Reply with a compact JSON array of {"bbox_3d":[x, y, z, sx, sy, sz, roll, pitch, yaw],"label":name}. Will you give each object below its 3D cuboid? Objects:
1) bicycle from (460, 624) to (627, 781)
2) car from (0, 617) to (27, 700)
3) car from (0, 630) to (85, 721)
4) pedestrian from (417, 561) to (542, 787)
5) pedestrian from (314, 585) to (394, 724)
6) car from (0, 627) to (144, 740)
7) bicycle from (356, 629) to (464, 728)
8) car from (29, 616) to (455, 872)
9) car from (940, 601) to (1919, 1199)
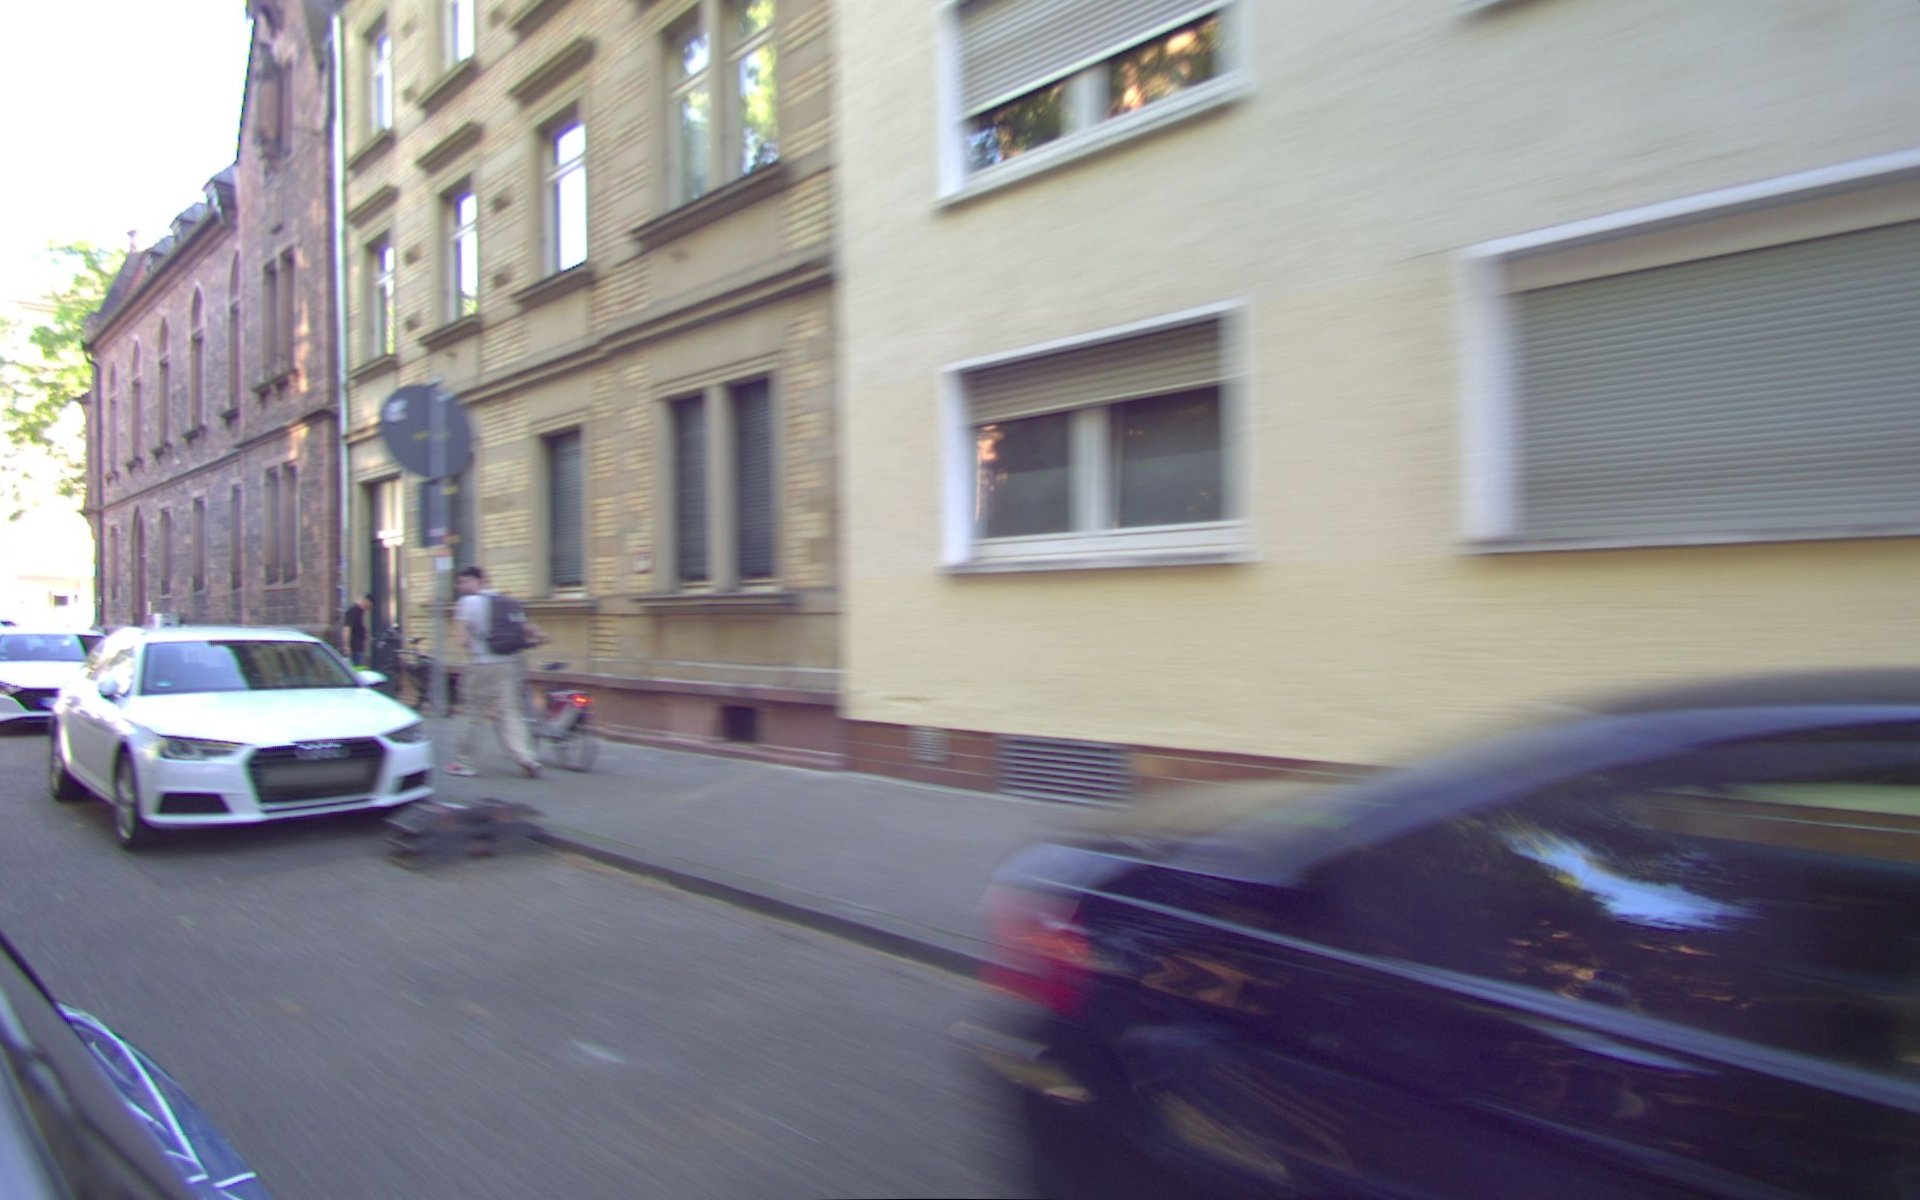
[{"bbox_3d":[-3.797,0.868,9.157,1.843,1.253,0.564,-1,2,41],"label":"bicycle"},{"bbox_3d":[-21.587,1.198,21.846,4.277,1.687,1.690,-1,-3,42],"label":"car"},{"bbox_3d":[-16.893,1.273,17.872,3.802,1.428,1.690,-1,-3,42],"label":"car"},{"bbox_3d":[-4.143,0.603,8.711,1.114,1.816,0.483,-2,1,40],"label":"pedestrian"},{"bbox_3d":[-8.780,0.766,14.671,0.762,1.943,0.759,-2,-1,37],"label":"pedestrian"},{"bbox_3d":[-13.403,1.135,14.793,3.802,1.428,1.690,-1,-3,42],"label":"car"},{"bbox_3d":[-7.144,0.976,13.105,1.843,1.156,0.564,-1,2,41],"label":"bicycle"},{"bbox_3d":[-5.834,0.902,7.979,4.519,1.467,1.712,-1,-3,41],"label":"car"},{"bbox_3d":[2.120,0.719,0.993,4.315,1.413,1.712,-2,-3,43],"label":"car"}]
